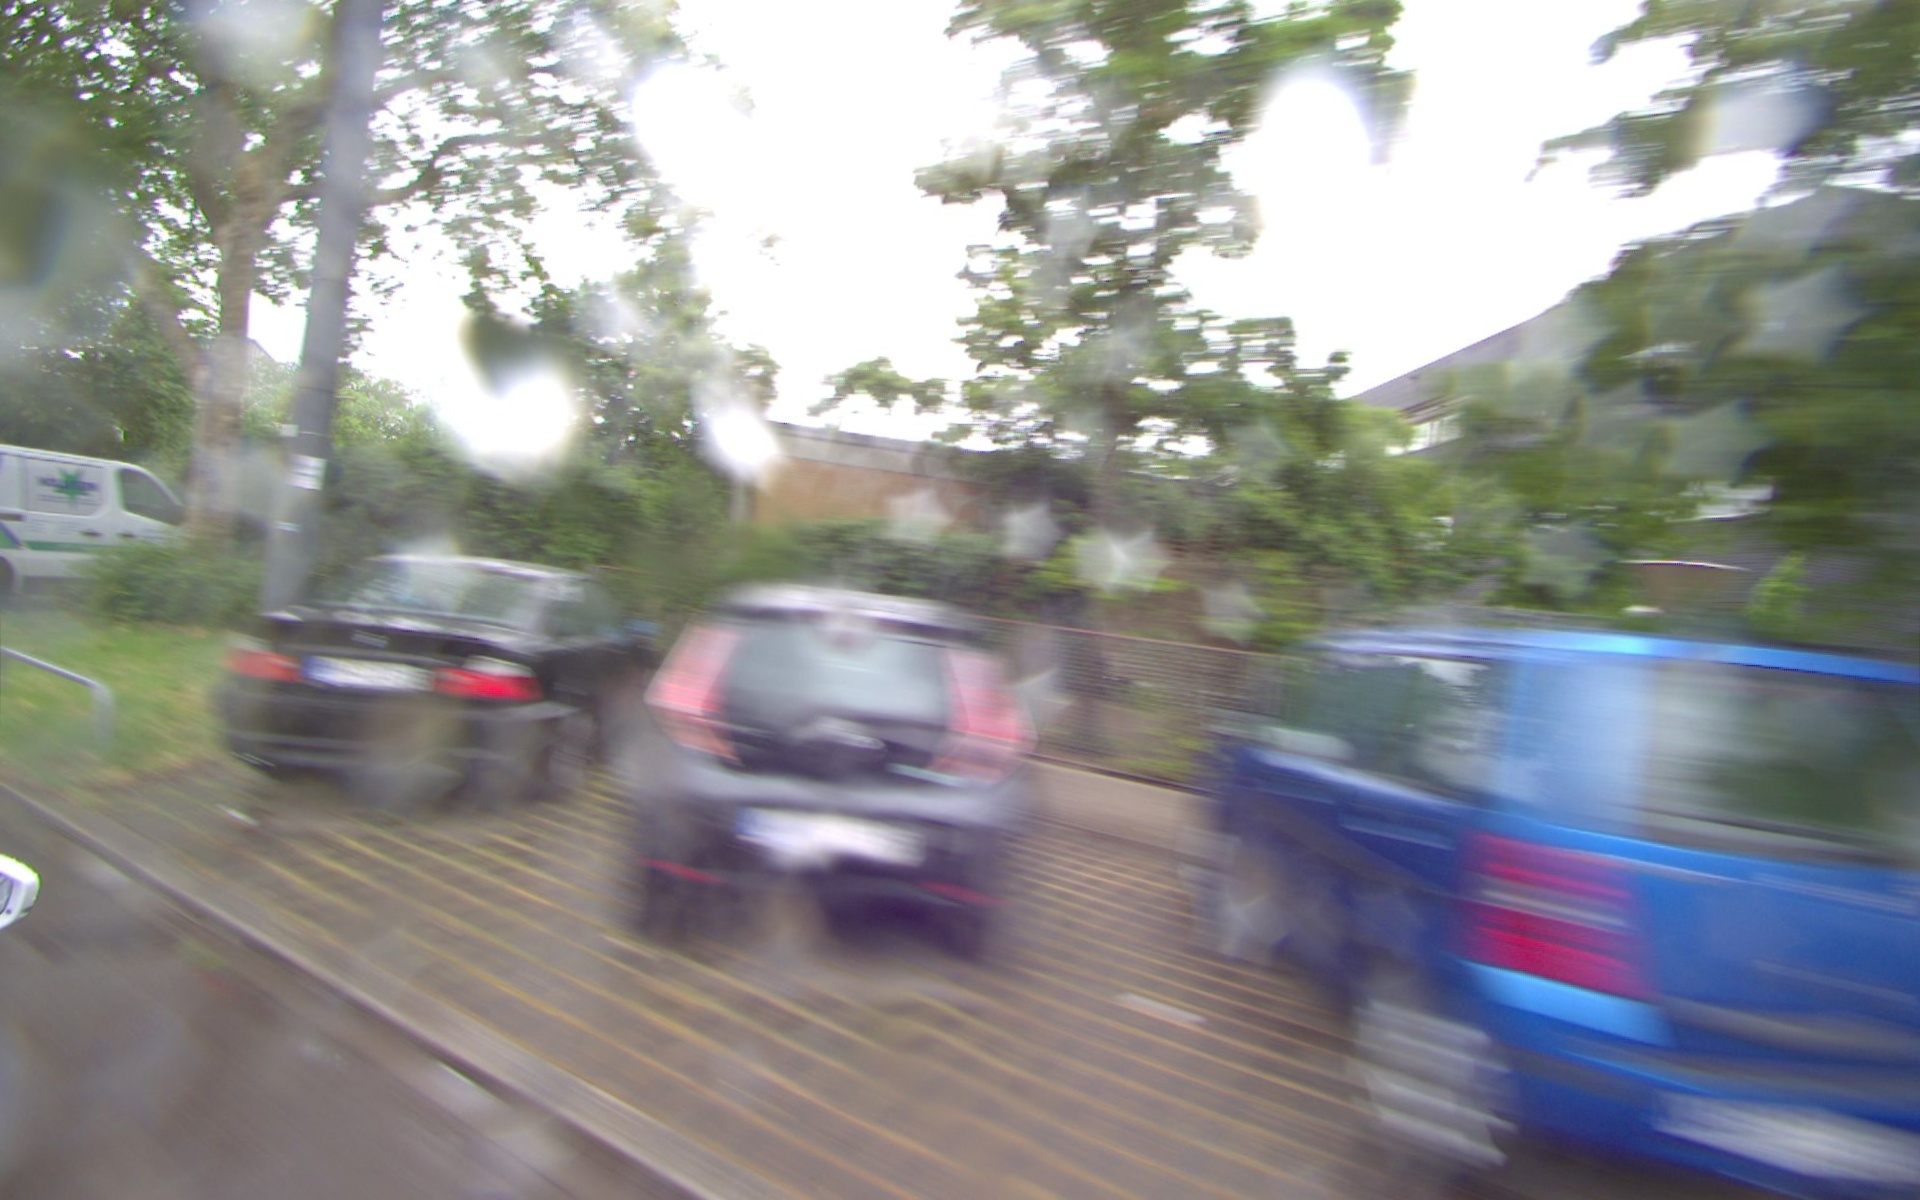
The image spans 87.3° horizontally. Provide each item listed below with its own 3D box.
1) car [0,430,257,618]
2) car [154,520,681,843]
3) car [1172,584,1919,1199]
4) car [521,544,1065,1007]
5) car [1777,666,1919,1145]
[{"bbox_3d":[-11.452,-0.984,12.461,1.964,2.039,5.024,7,1,-3],"label":"car"},{"bbox_3d":[-3.234,0.410,7.088,1.711,1.401,4.300,7,0,-7],"label":"car"},{"bbox_3d":[2.121,0.870,4.114,1.563,1.693,3.272,6,1,-2],"label":"car"},{"bbox_3d":[-0.739,0.615,5.326,1.817,1.538,3.399,6,1,-5],"label":"car"},{"bbox_3d":[4.421,1.198,2.153,1.625,1.661,4.044,7,0,-6],"label":"car"}]
